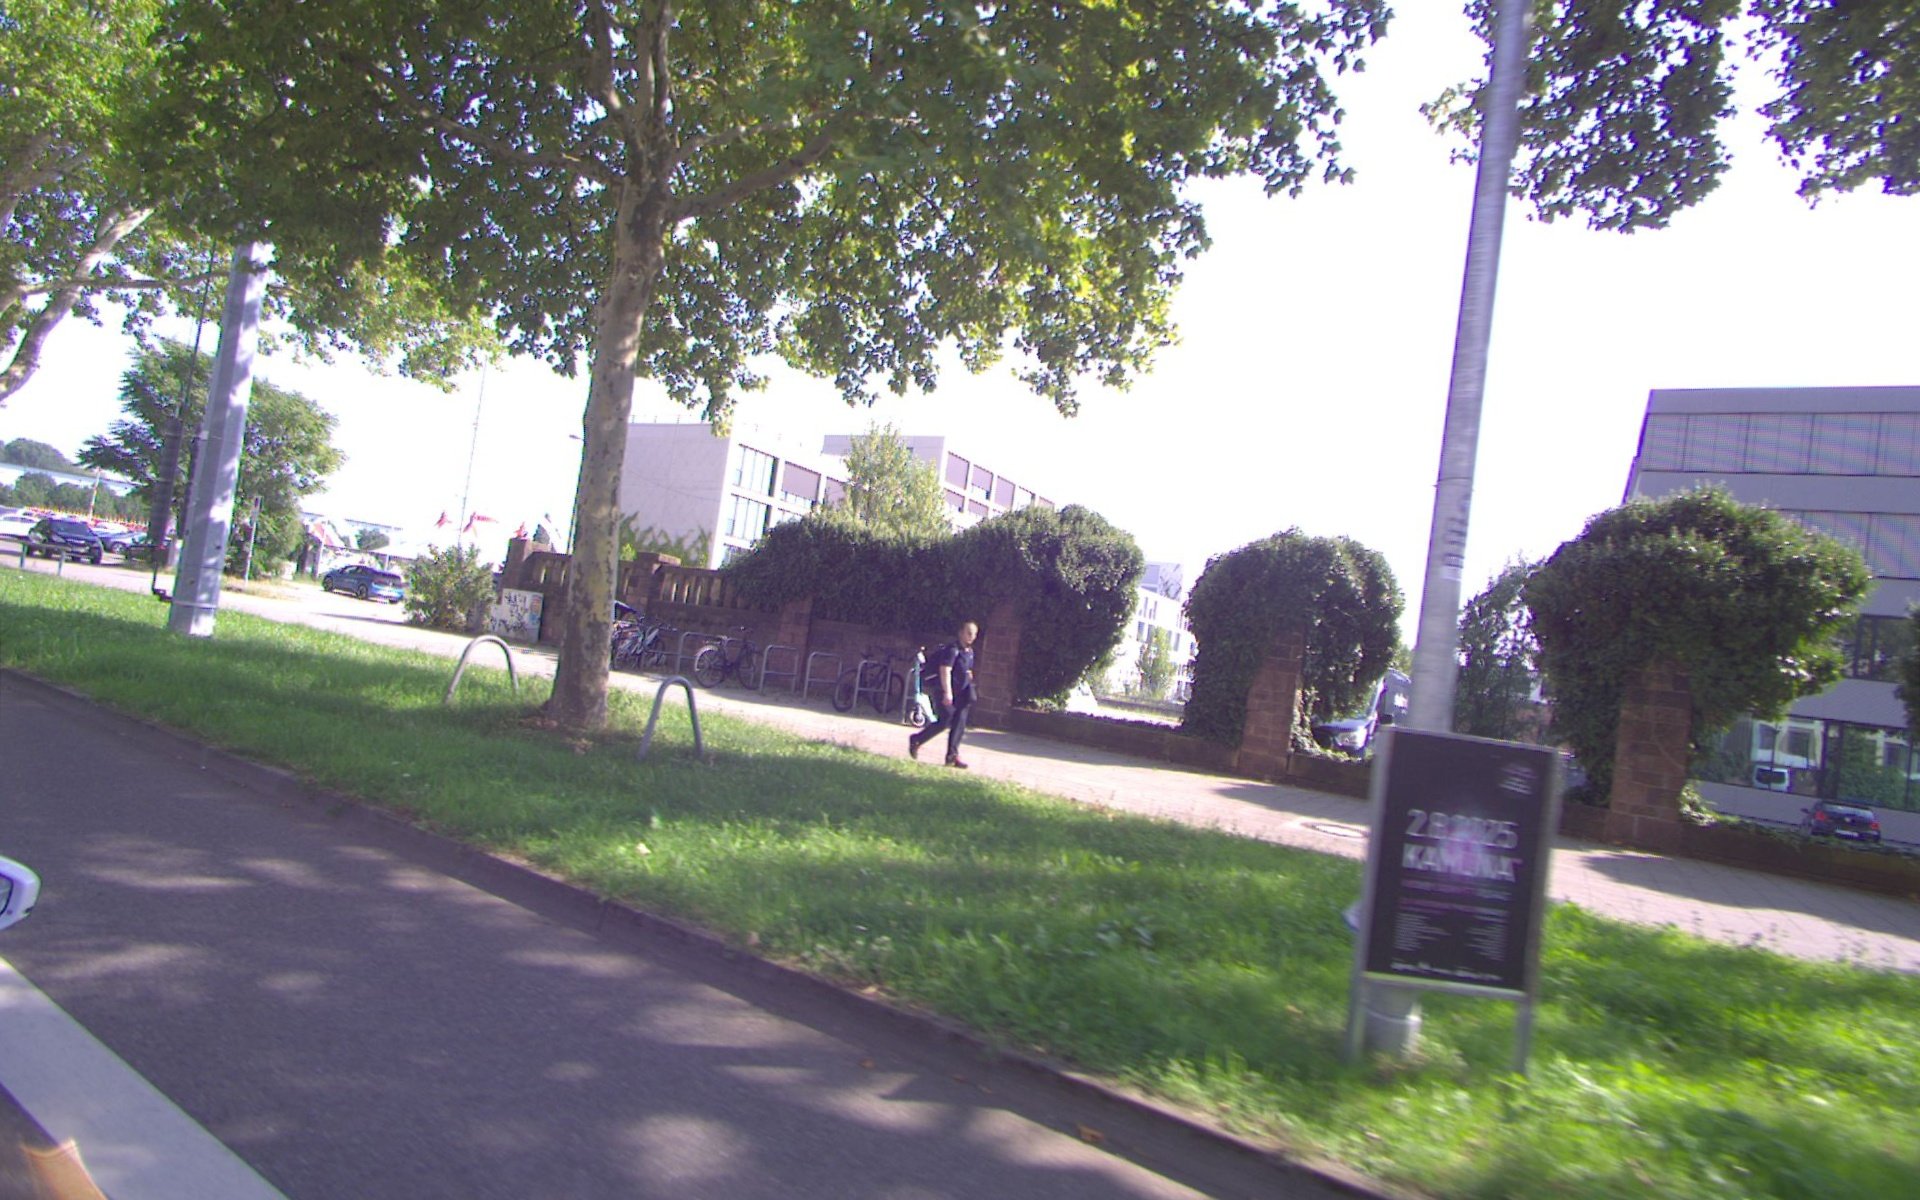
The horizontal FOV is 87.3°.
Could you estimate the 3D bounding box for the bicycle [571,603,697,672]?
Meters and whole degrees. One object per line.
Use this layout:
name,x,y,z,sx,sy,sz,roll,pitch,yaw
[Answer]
bicycle,-6.107,0.729,18.997,0.731,1.089,2.175,6,-1,35

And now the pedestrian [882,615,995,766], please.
pedestrian,-0.230,1.008,11.247,0.774,1.532,0.785,7,-2,31

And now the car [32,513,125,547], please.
car,-61.322,-4.855,70.035,1.914,1.479,4.358,6,-4,30

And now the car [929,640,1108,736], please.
car,1.401,1.895,21.158,2.147,1.494,4.916,7,-3,22

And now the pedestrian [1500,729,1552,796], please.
pedestrian,19.376,5.535,34.450,1.335,2.036,0.941,7,-2,31

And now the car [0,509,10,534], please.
car,-72.146,-6.120,72.833,1.914,1.730,4.358,6,-4,30

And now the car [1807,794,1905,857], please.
car,28.285,7.051,31.720,3.948,1.474,1.795,9,-2,-42

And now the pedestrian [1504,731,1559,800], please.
pedestrian,18.983,5.479,33.421,1.365,2.036,1.080,7,-2,31

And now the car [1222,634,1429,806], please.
car,6.933,2.230,18.596,2.214,2.461,5.387,6,-3,33

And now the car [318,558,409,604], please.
car,-28.383,-0.906,47.859,3.887,1.592,1.711,7,-4,26

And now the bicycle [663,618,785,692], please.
bicycle,-4.182,1.010,18.010,0.731,1.088,2.180,7,-3,30

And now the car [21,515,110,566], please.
car,-36.433,-2.438,40.956,3.734,1.593,1.611,7,-2,32

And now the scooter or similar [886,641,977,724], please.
scooter or similar,-0.434,1.332,16.040,0.530,1.205,1.507,6,-2,35

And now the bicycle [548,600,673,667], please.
bicycle,-6.737,0.669,19.502,0.731,1.089,2.174,6,-1,35

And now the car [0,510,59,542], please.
car,-58.854,-4.759,62.062,1.914,1.479,4.358,6,-4,30

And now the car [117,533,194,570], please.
car,-43.056,-2.616,53.850,4.048,1.411,1.818,7,-3,32

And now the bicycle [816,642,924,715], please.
bicycle,-1.453,1.327,16.627,0.722,1.017,1.872,7,-3,30

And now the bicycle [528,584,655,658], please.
bicycle,-7.605,0.456,20.874,0.982,1.292,2.248,6,-2,31

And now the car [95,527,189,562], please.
car,-53.927,-3.632,66.393,1.917,1.480,4.399,6,-4,35
